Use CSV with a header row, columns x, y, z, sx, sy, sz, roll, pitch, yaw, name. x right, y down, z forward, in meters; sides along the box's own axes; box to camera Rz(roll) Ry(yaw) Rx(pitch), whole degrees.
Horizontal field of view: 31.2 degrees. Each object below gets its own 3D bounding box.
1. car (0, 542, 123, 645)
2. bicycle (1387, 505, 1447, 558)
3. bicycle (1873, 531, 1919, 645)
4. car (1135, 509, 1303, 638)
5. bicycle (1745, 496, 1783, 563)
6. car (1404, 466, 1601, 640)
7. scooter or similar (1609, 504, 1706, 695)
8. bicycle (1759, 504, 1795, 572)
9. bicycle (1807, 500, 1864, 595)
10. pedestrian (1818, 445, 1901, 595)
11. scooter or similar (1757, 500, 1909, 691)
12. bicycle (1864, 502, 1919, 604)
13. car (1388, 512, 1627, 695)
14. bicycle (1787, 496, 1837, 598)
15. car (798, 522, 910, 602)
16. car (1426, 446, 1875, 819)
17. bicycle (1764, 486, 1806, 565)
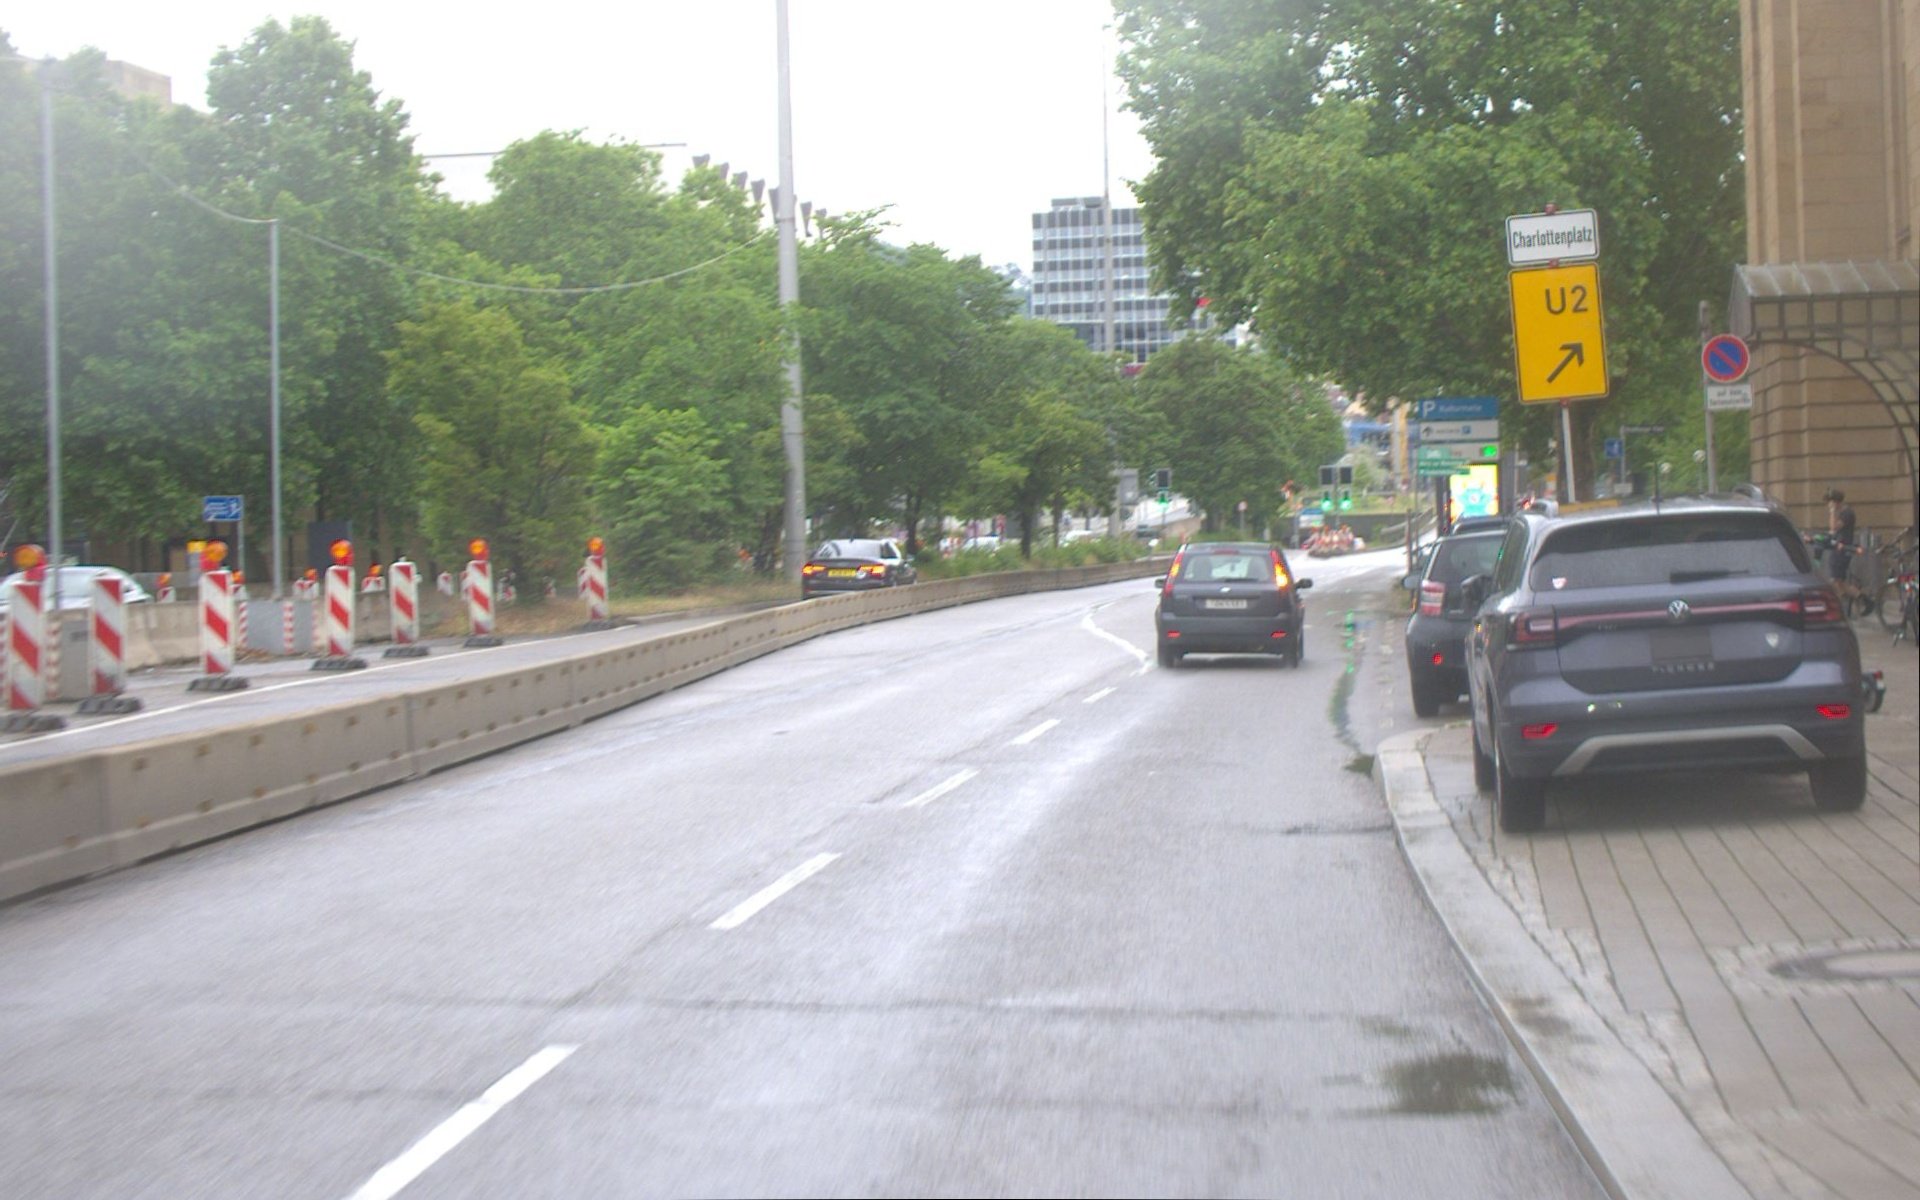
x,y,z,sx,sy,sz,roll,pitch,yaw,name
-12.882,-0.126,47.628,1.773,1.258,4.769,0,2,-5,car
8.503,-1.283,63.949,0.670,0.964,1.635,0,2,23,bicycle
9.319,-0.131,32.981,0.712,1.048,1.740,-1,1,3,bicycle
3.077,-0.327,40.525,1.844,1.411,3.839,-1,1,5,car
13.193,-1.157,56.431,0.352,1.076,1.789,-3,1,7,bicycle
5.989,-0.532,37.807,1.994,1.775,4.187,-1,1,10,car
4.628,-0.013,22.857,0.433,1.212,1.122,-4,1,5,scooter or similar
13.024,-0.993,54.824,0.352,1.076,1.789,0,1,7,bicycle
11.492,-0.699,45.140,0.464,1.211,1.691,-1,1,6,bicycle
11.051,-0.984,42.265,0.795,1.771,0.642,-4,1,8,pedestrian
6.080,-0.042,23.978,0.433,1.288,1.258,-1,1,-16,scooter or similar
9.816,-0.498,35.939,0.584,1.034,1.758,-1,1,11,bicycle
4.591,-0.004,28.526,1.759,1.409,3.150,-1,1,13,car
12.905,-0.813,52.073,0.453,1.510,1.600,0,2,4,bicycle
-2.040,-0.772,66.953,1.754,1.446,4.000,-2,1,4,car
3.410,0.073,17.711,1.872,1.613,4.403,-2,2,7,car
13.320,-1.213,55.523,0.453,1.246,1.599,0,2,6,bicycle
